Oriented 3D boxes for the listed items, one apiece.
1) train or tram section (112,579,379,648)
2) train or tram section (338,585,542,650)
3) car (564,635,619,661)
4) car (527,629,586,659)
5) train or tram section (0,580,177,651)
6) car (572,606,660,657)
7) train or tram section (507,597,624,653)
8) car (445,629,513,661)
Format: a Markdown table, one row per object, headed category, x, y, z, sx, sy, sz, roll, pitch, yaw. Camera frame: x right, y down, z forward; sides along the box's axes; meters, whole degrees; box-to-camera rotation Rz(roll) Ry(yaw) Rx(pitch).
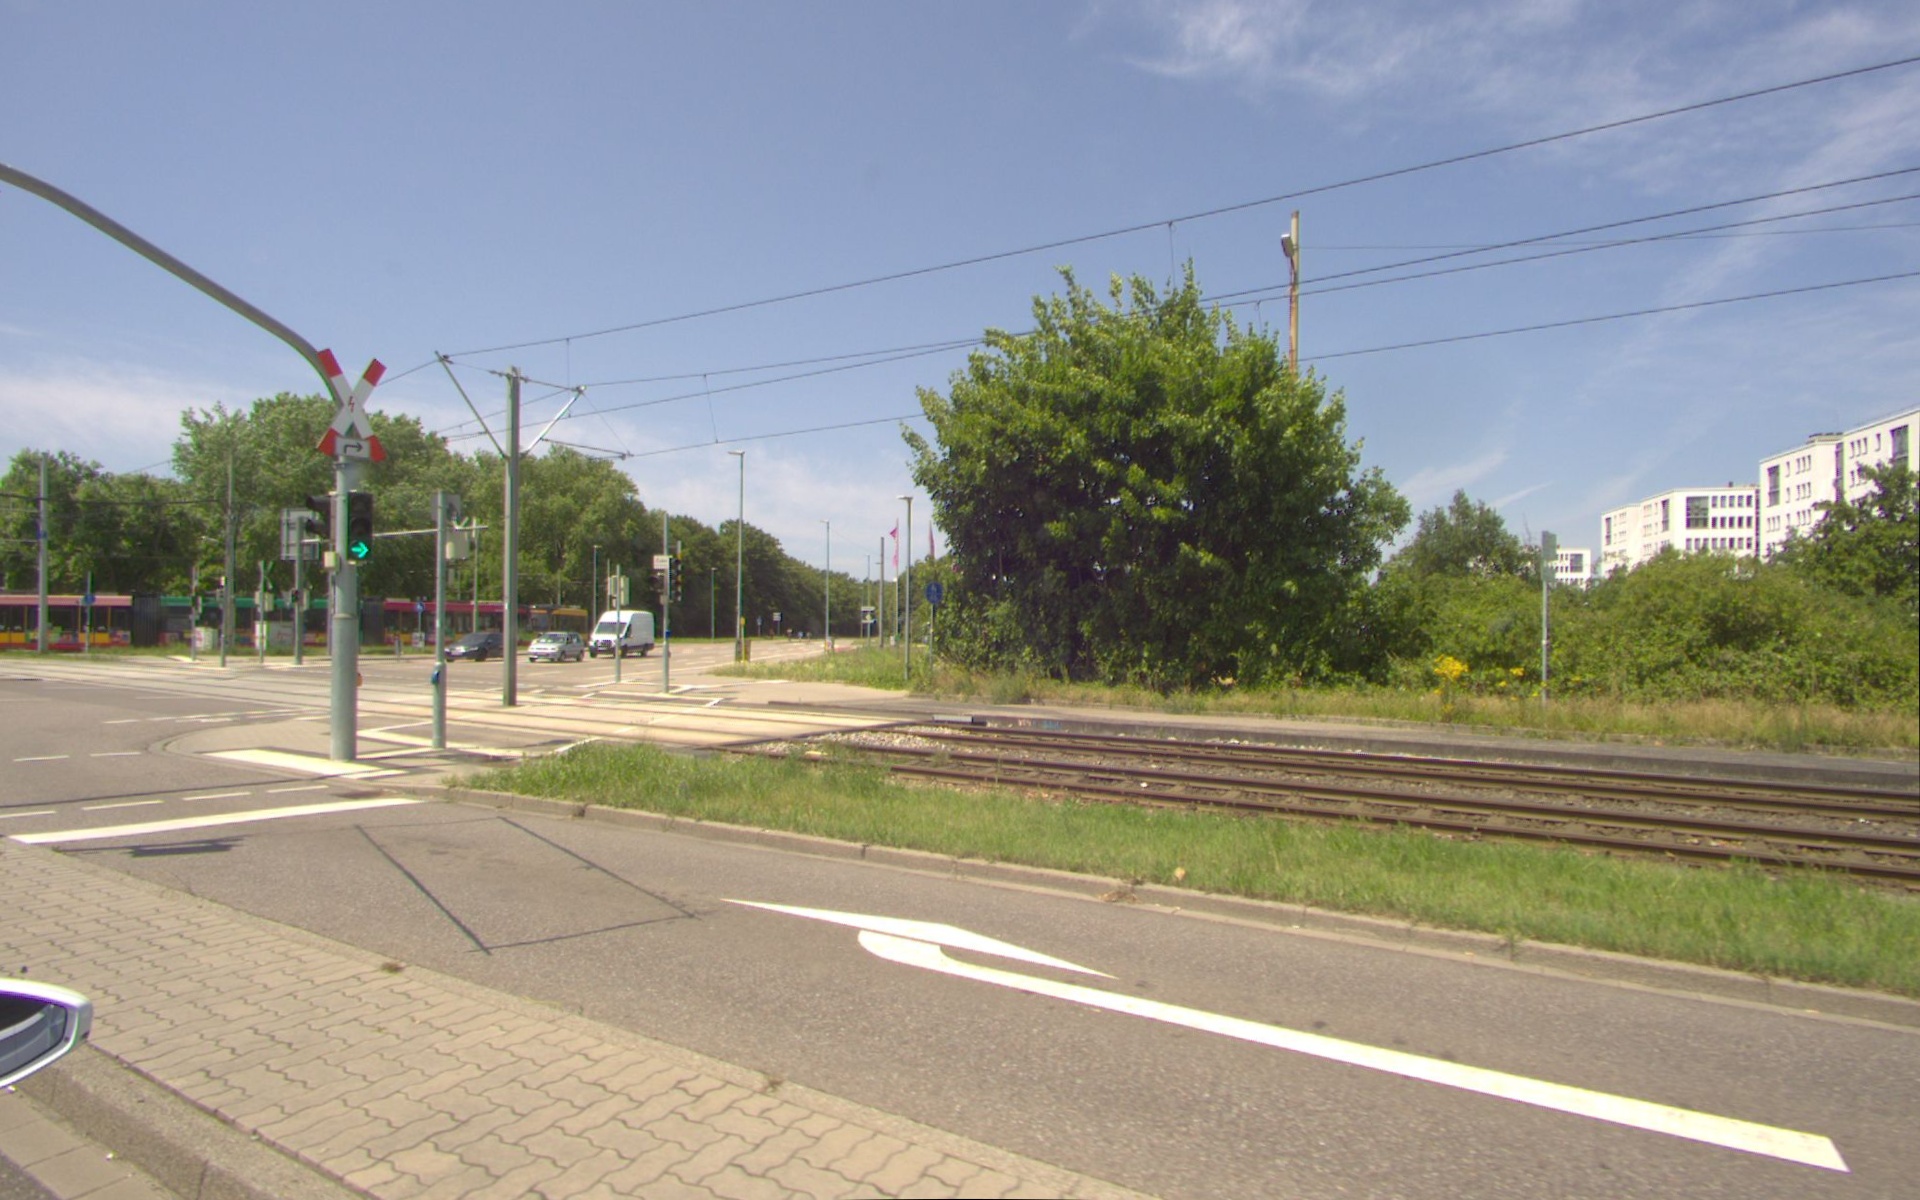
| category | x | y | z | sx | sy | sz | roll | pitch | yaw |
| --- | --- | --- | --- | --- | --- | --- | --- | --- | --- |
| train or tram section | -44.045 | 1.010 | 62.444 | 13.301 | 3.857 | 2.903 | 2 | -5 | -38 |
| train or tram section | -36.611 | 1.455 | 71.604 | 2.878 | 3.965 | 14.006 | -3 | -4 | 26 |
| car | -22.571 | 2.926 | 61.478 | 1.608 | 1.481 | 4.495 | 1 | -2 | 1 |
| car | -20.344 | 2.196 | 50.636 | 1.608 | 1.481 | 3.807 | 1 | -2 | -3 |
| train or tram section | -53.674 | 0.927 | 58.104 | 12.834 | 3.857 | 2.924 | 0 | -4 | -13 |
| car | -20.486 | 1.904 | 60.087 | 2.664 | 2.838 | 7.287 | 1 | -2 | 1 |
| train or tram section | -32.803 | 2.293 | 84.265 | 2.867 | 3.965 | 13.978 | -2 | -4 | 7 |
| car | -23.647 | 2.195 | 49.346 | 1.608 | 1.481 | 3.510 | 1 | -2 | 1 |
